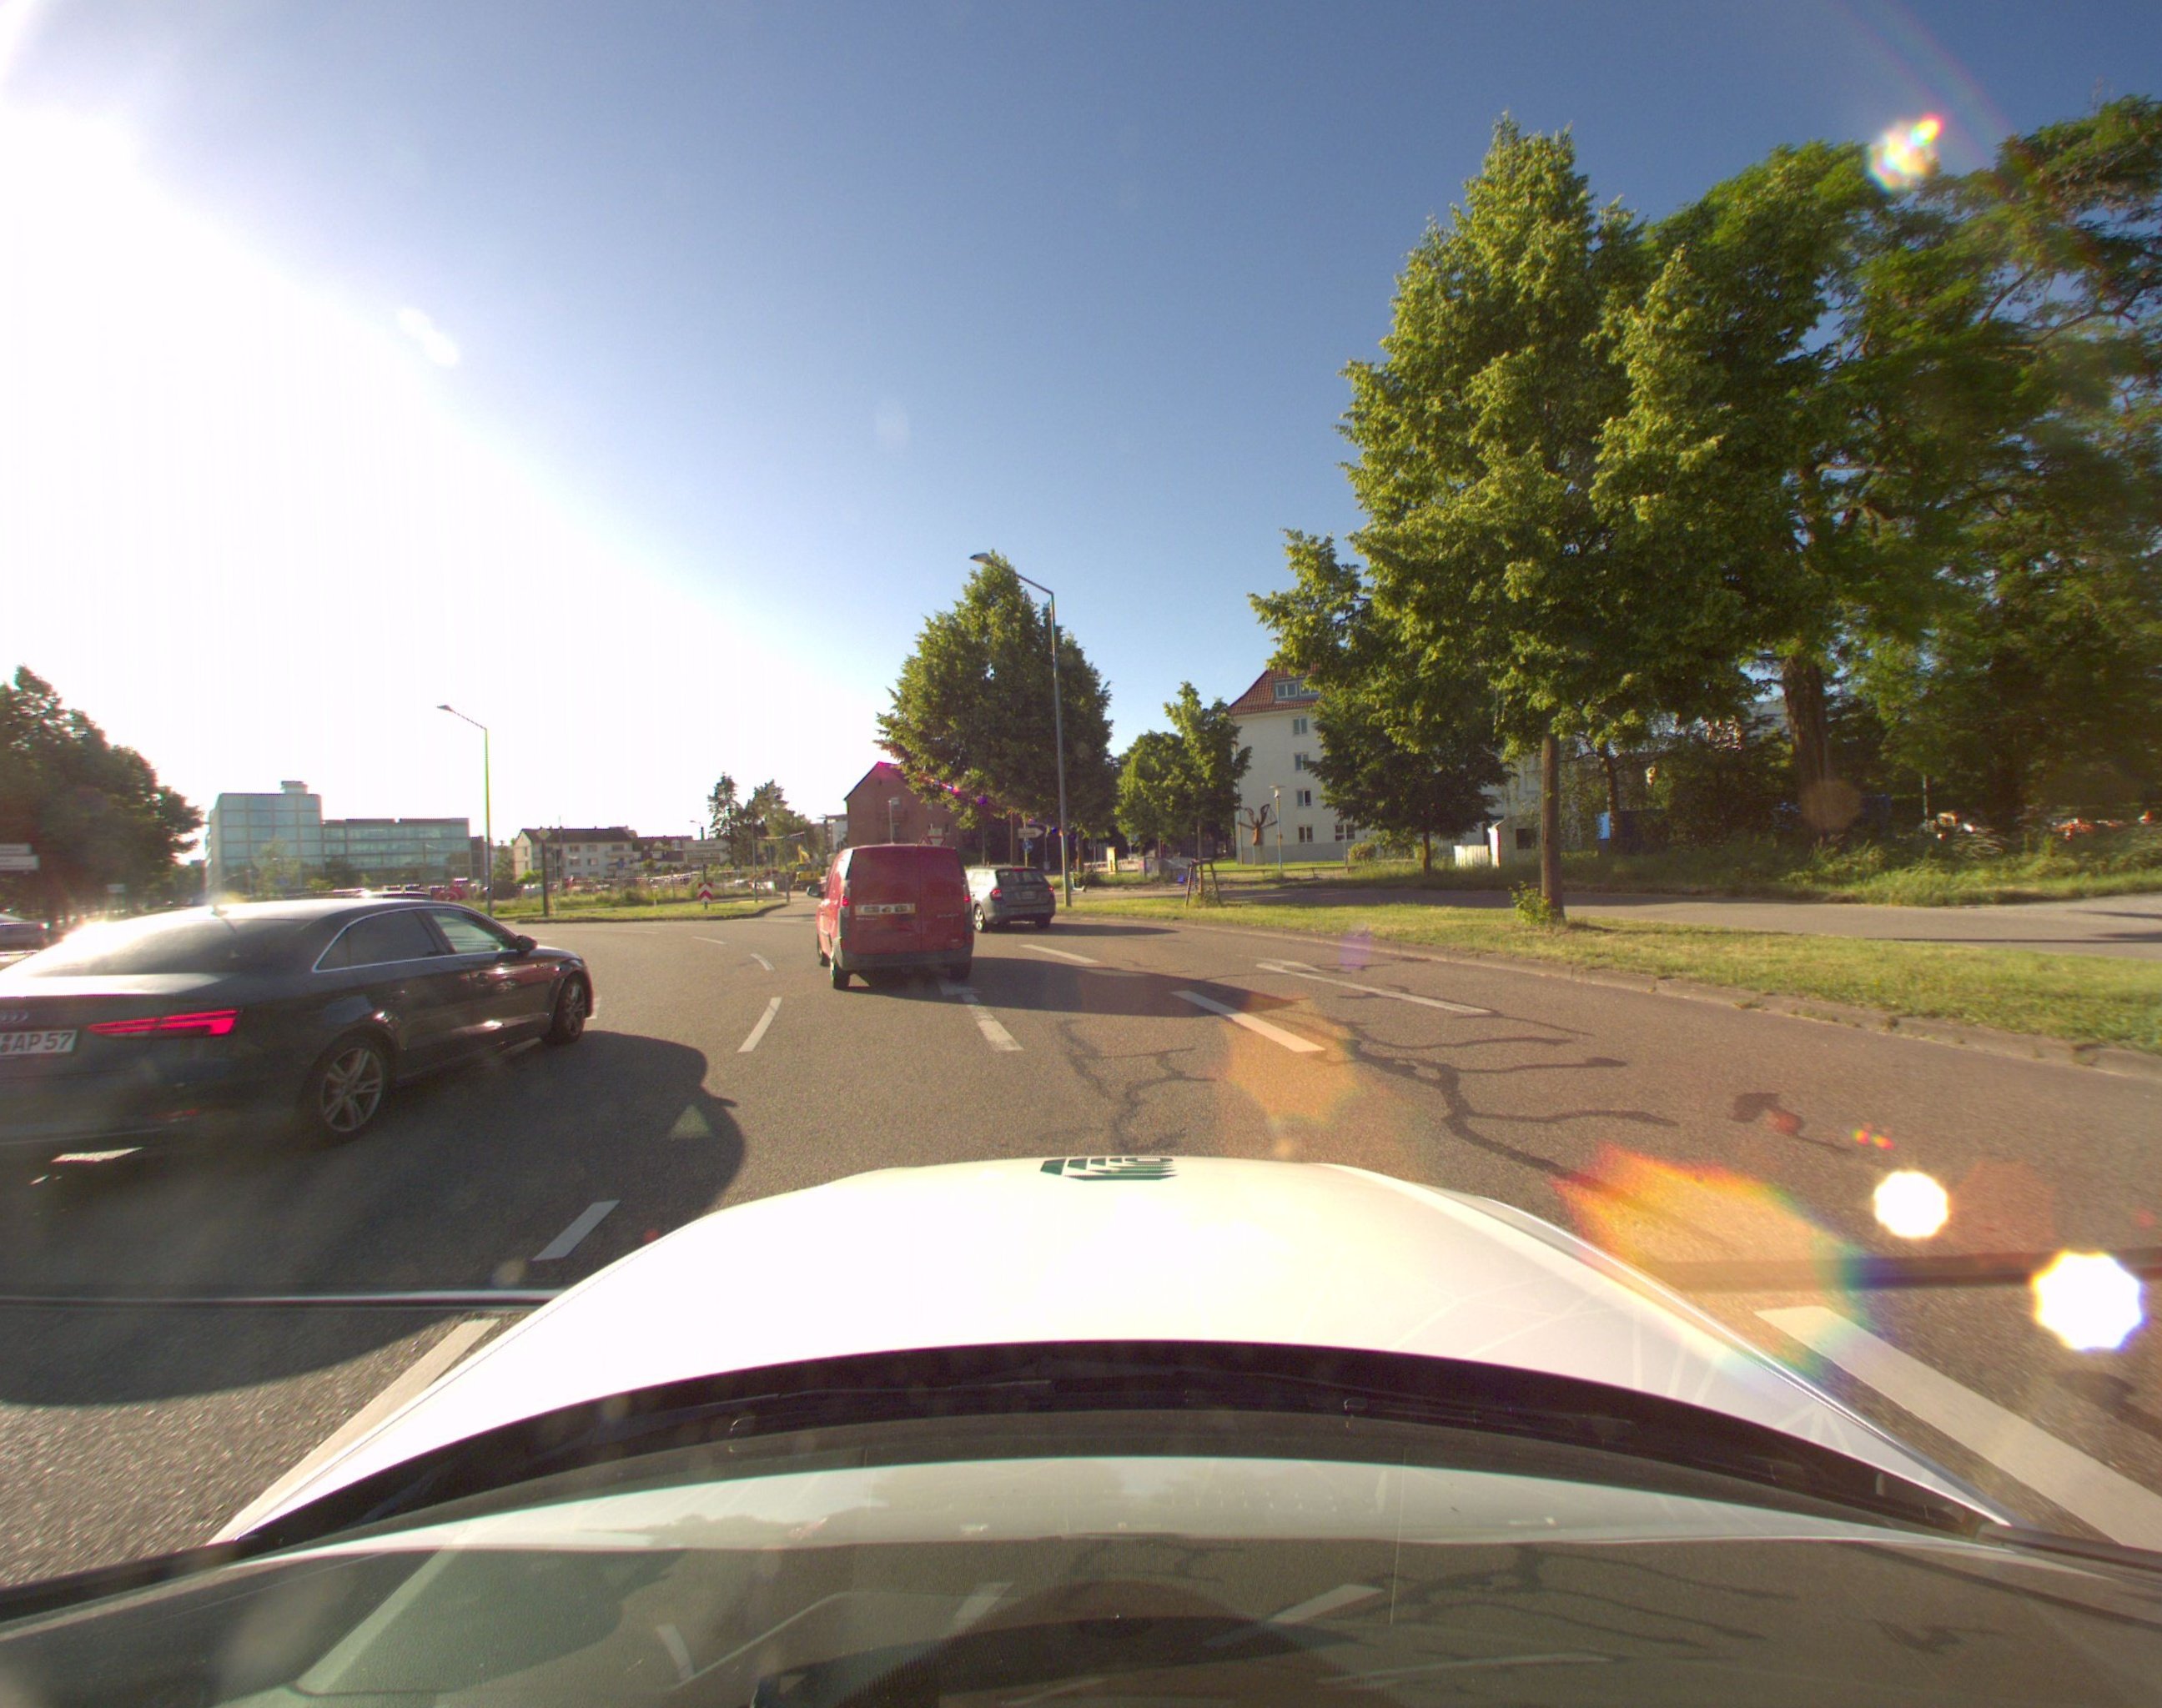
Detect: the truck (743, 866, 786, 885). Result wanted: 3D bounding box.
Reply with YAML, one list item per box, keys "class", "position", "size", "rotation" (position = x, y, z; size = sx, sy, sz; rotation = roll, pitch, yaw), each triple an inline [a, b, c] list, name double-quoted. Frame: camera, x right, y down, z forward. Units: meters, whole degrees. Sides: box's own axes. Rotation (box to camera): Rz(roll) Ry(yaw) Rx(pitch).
- class: "truck"
  position: [-35.941, 2.445, 92.375]
  size: [2.184, 2.014, 6.355]
  rotation: [0, -2, -45]

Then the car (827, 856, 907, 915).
- class: "car"
  position: [-7.850, 1.114, 29.542]
  size: [2.006, 1.897, 4.714]
  rotation: [-2, -1, -24]

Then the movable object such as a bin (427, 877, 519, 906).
- class: "movable object such as a bin"
  position: [-68.648, 4.175, 92.101]
  size: [2.907, 2.782, 7.980]
  rotation: [-3, 0, 45]

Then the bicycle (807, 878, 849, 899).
- class: "bicycle"
  position: [-13.527, 1.857, 43.587]
  size: [1.991, 1.027, 0.745]
  rotation: [-2, 2, 11]

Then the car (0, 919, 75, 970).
- class: "car"
  position: [-39.034, 3.280, 28.750]
  size: [4.380, 1.575, 2.000]
  rotation: [-3, 0, -1]

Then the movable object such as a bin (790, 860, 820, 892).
- class: "movable object such as a bin"
  position: [-25.651, 2.042, 75.653]
  size: [2.429, 2.773, 3.970]
  rotation: [-1, -1, -22]

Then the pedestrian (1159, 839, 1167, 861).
- class: "pedestrian"
  position: [7.681, -0.362, 76.119]
  size: [0.465, 2.013, 0.458]
  rotation: [-3, 0, 31]

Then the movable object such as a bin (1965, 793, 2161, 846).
- class: "movable object such as a bin"
  position: [41.550, -1.408, 34.586]
  size: [4.969, 1.948, 2.248]
  rotation: [-2, -1, 14]

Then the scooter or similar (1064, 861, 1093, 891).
- class: "scooter or similar"
  position: [-0.108, 0.969, 35.133]
  size: [0.447, 1.248, 1.249]
  rotation: [0, -3, -45]

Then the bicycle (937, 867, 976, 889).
- class: "bicycle"
  position: [-5.920, 1.139, 38.751]
  size: [1.800, 1.028, 0.664]
  rotation: [-2, -2, 29]

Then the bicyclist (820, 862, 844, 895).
- class: "bicyclist"
  position: [-13.290, 1.317, 43.506]
  size: [0.846, 1.680, 0.745]
  rotation: [-2, 2, 11]

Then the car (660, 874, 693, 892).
- class: "car"
  position: [-49.912, 3.588, 100.443]
  size: [4.440, 2.014, 2.013]
  rotation: [-2, -2, 38]

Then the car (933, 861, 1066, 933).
- class: "car"
  position: [-2.031, 0.948, 19.097]
  size: [1.723, 1.436, 4.115]
  rotation: [-2, -1, -26]

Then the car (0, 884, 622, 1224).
- class: "car"
  position: [-5.216, 1.005, 5.849]
  size: [1.759, 1.380, 4.348]
  rotation: [-2, 0, -7]

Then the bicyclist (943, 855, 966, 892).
- class: "bicyclist"
  position: [-6.205, 0.951, 39.922]
  size: [0.803, 1.730, 0.658]
  rotation: [-4, -1, 25]

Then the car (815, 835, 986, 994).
- class: "car"
  position: [-2.711, 0.712, 11.545]
  size: [1.809, 1.813, 3.783]
  rotation: [-2, 0, -21]

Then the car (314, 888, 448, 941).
- class: "car"
  position: [-21.951, 1.860, 25.535]
  size: [3.762, 1.461, 1.819]
  rotation: [-1, 0, 26]

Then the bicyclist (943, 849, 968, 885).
- class: "bicyclist"
  position: [-5.976, 0.631, 38.784]
  size: [0.888, 1.665, 0.664]
  rotation: [-2, -2, 29]
